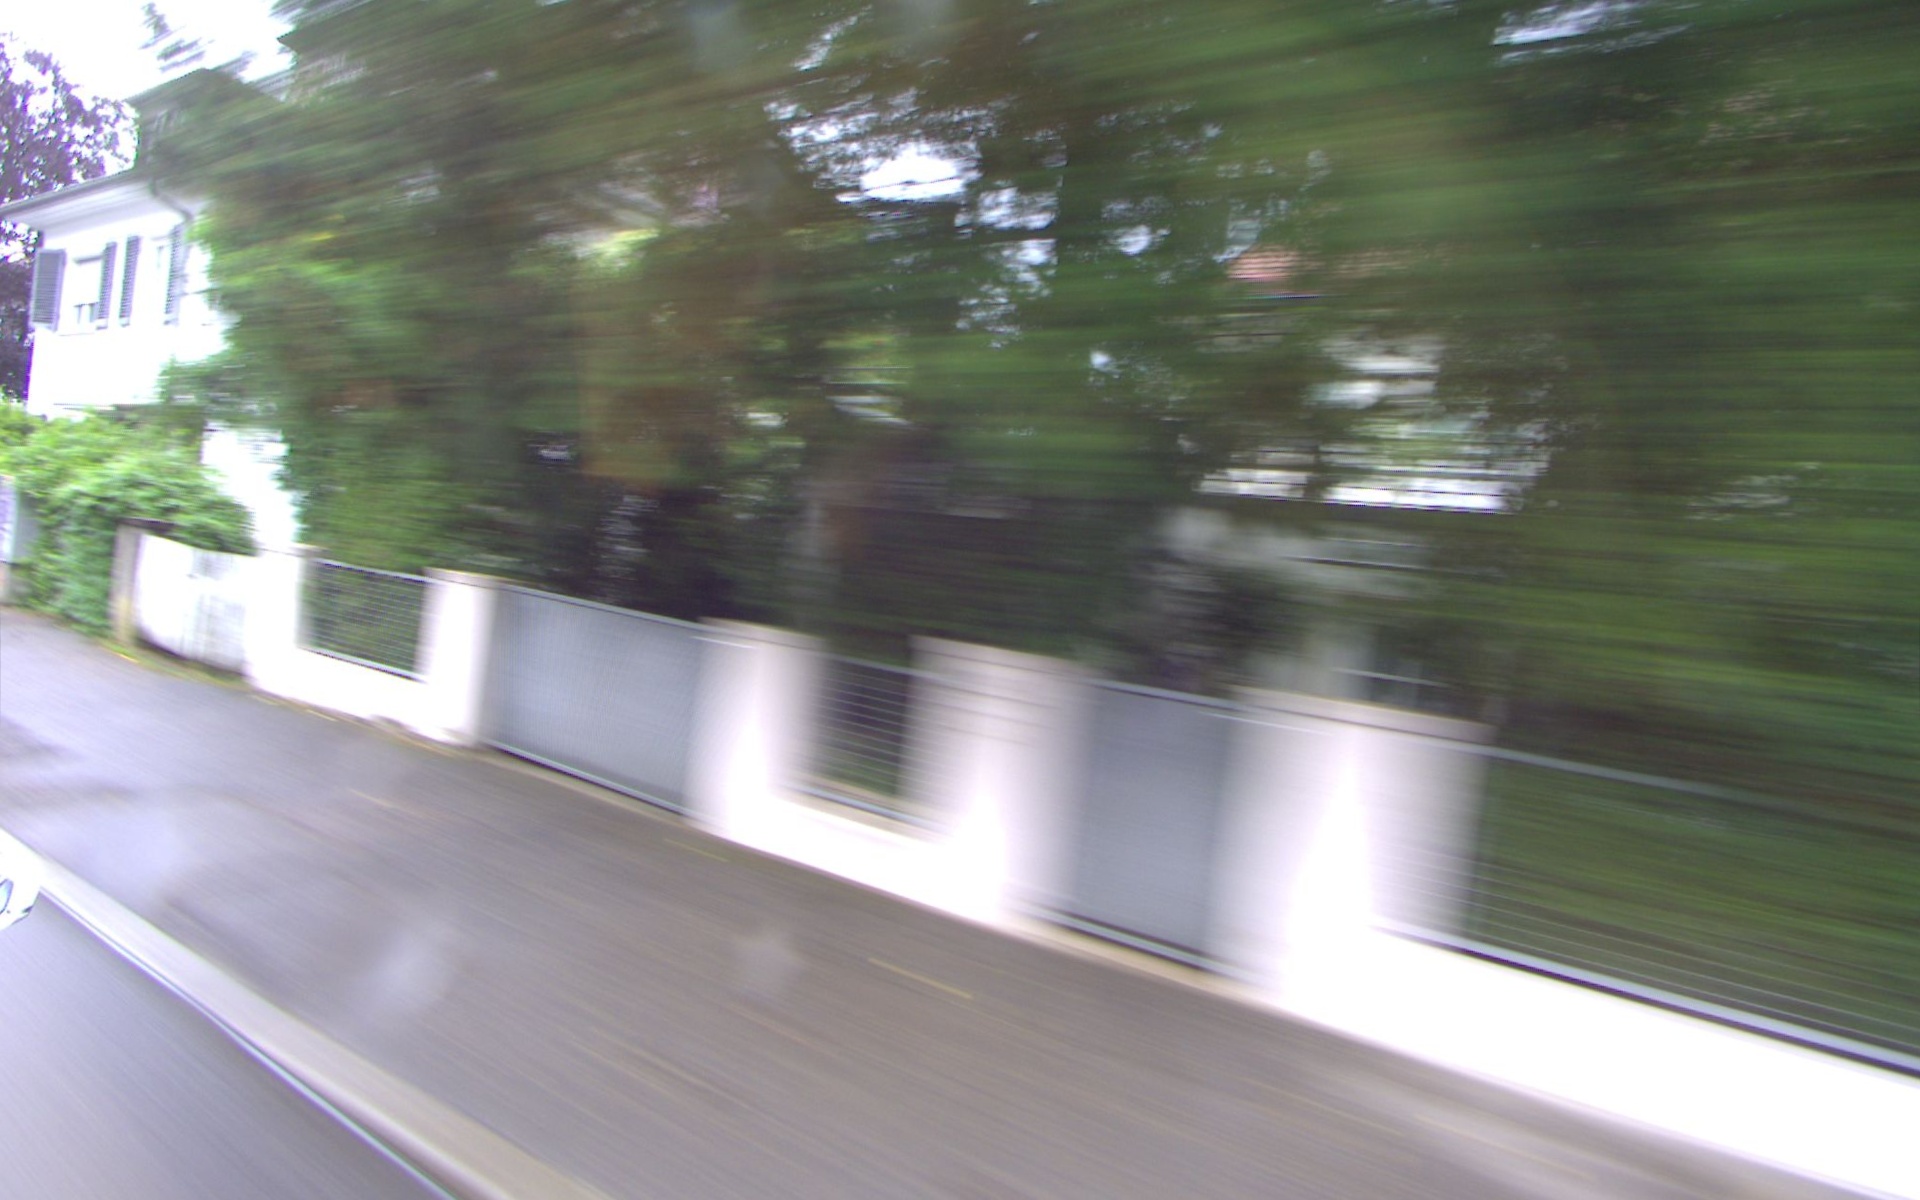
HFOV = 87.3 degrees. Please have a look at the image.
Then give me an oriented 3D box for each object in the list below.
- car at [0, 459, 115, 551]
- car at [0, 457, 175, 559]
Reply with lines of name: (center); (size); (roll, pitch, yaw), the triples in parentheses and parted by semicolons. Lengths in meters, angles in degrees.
car: (-22.783, -2.372, 23.205); (1.969, 1.899, 4.659); (8, 2, 36)
car: (-20.085, -2.079, 21.612); (1.969, 1.836, 4.659); (8, 2, 36)
